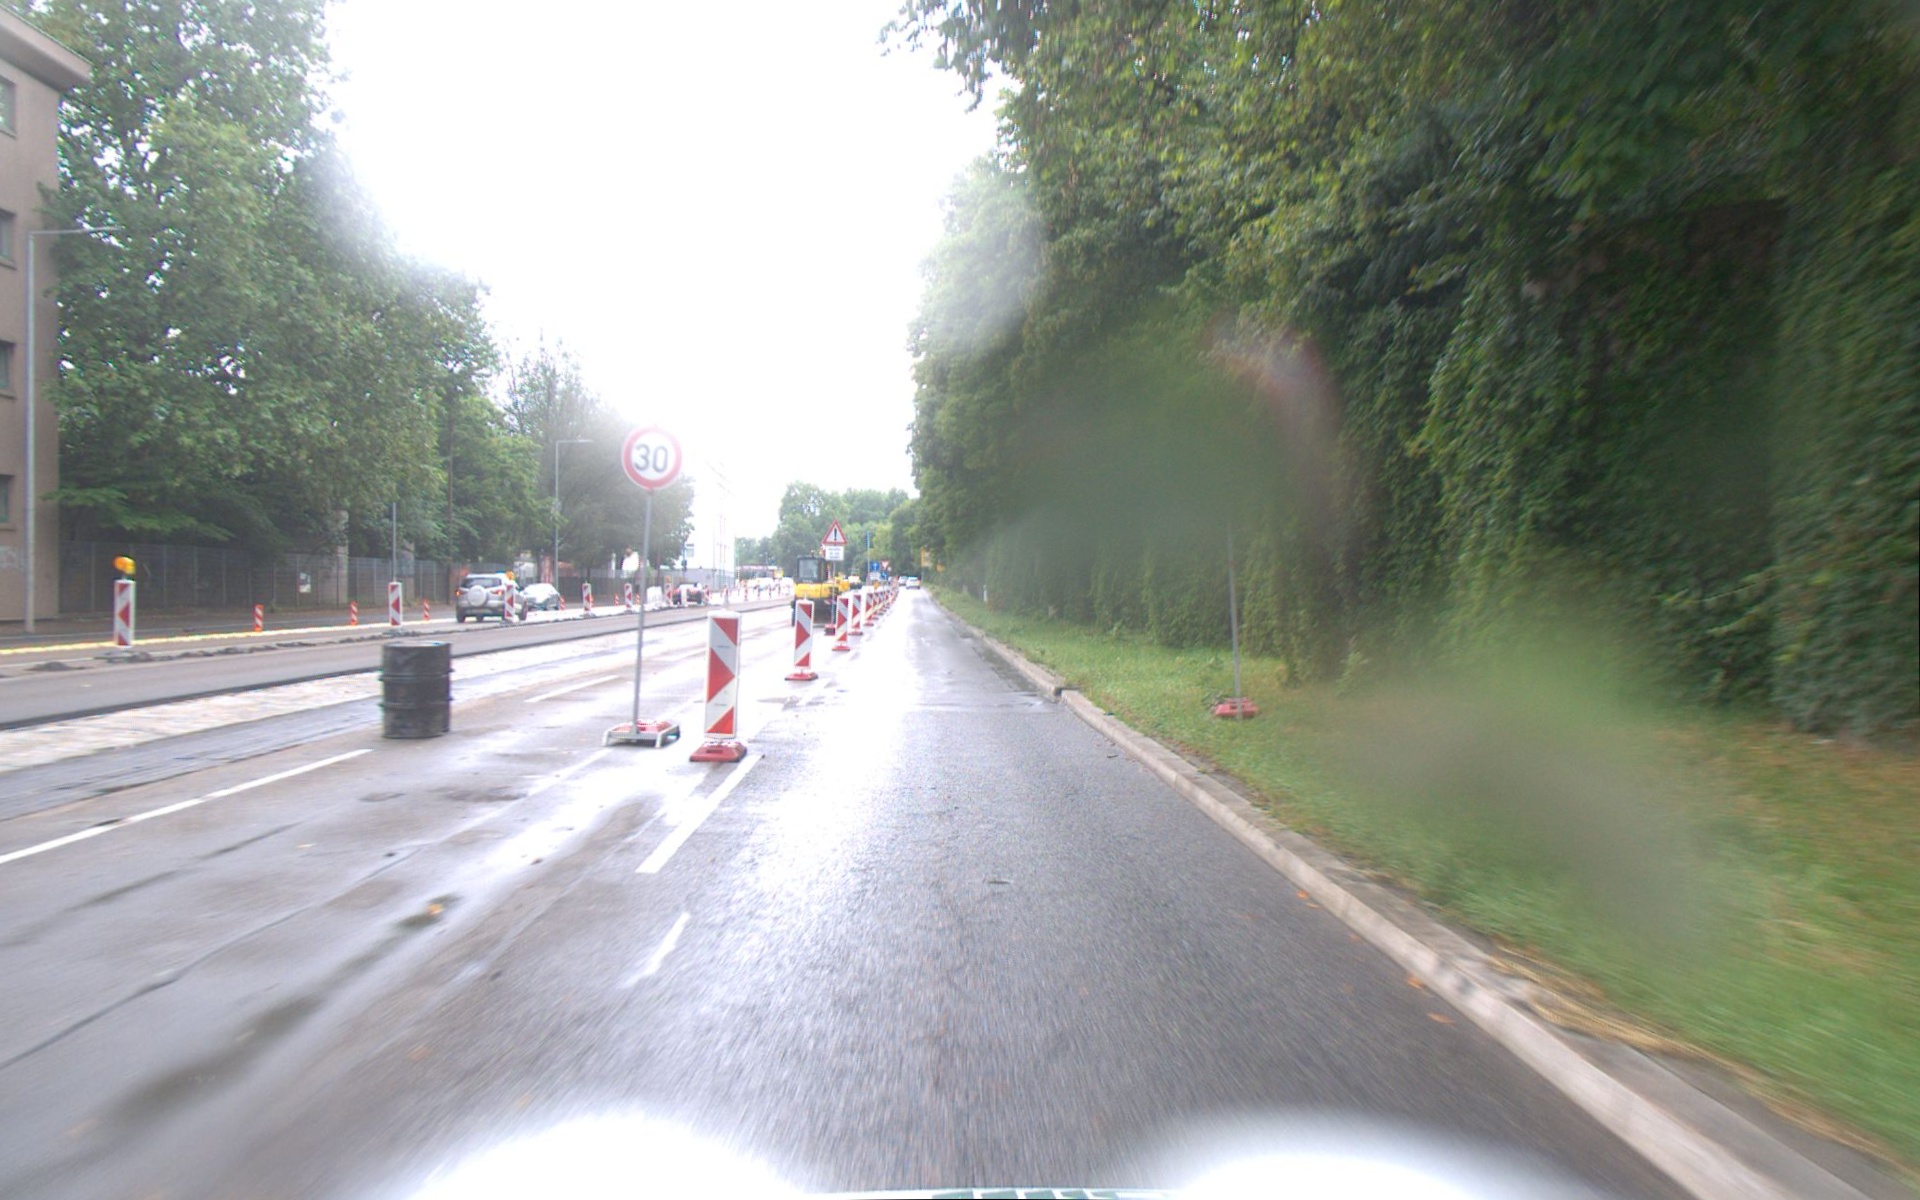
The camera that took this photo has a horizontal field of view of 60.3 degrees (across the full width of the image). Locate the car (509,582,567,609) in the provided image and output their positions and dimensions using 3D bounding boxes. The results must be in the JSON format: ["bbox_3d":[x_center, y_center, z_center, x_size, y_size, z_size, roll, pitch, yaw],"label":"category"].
[{"bbox_3d":[-22.521,-0.228,88.399,1.953,1.371,4.789,1,0,-2],"label":"car"}]

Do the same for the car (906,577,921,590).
[{"bbox_3d":[-6.125,-2.191,219.097,1.953,1.702,3.999,1,0,-1],"label":"car"}]

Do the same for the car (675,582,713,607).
[{"bbox_3d":[-17.264,-0.324,107.556,1.953,1.545,3.998,1,0,-2],"label":"car"}]

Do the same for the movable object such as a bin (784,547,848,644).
[{"bbox_3d":[-5.393,-0.156,62.671,1.953,3.426,5.980,1,0,-2],"label":"movable object such as a bin"}]

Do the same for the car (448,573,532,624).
[{"bbox_3d":[-16.189,-0.047,57.104,1.817,1.677,3.998,1,0,-2],"label":"car"}]
